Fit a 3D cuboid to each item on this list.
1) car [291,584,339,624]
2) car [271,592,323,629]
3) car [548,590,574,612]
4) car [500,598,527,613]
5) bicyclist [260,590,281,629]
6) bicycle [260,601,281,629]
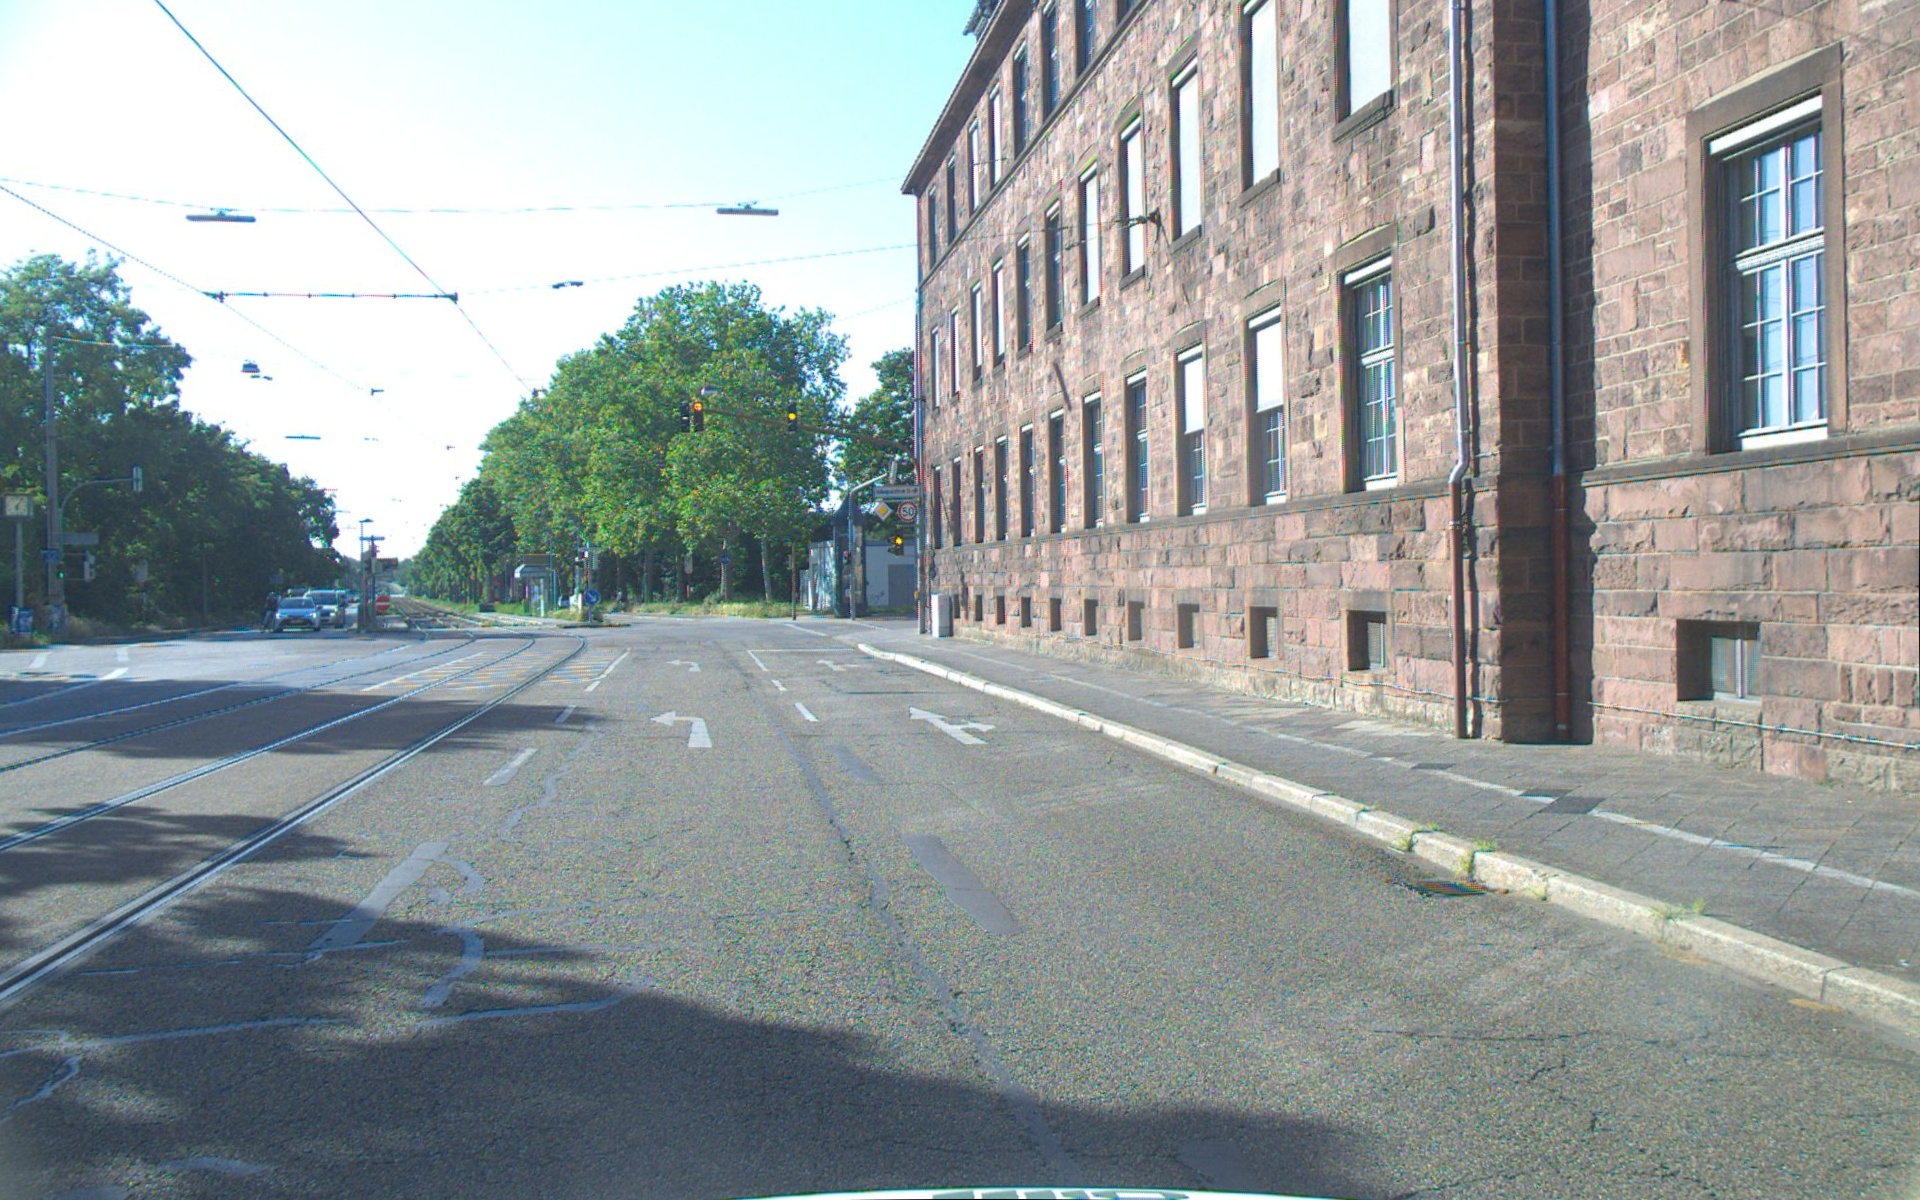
[{"bbox_3d":[-29.913,0.161,76.648,1.966,1.791,3.972,-1,1,-23],"label":"car"},{"bbox_3d":[-28.251,0.426,70.419,1.966,1.530,3.972,-1,1,-23],"label":"car"},{"bbox_3d":[-30.793,0.031,127.602,1.910,1.638,3.984,-1,1,-15],"label":"car"},{"bbox_3d":[-50.487,0.602,186.992,1.922,1.638,3.960,-1,1,-30],"label":"car"},{"bbox_3d":[-27.909,0.381,66.960,0.739,1.530,0.957,-1,0,-25],"label":"bicyclist"},{"bbox_3d":[-27.931,0.598,67.005,0.739,1.106,2.160,-1,1,-24],"label":"bicycle"}]
